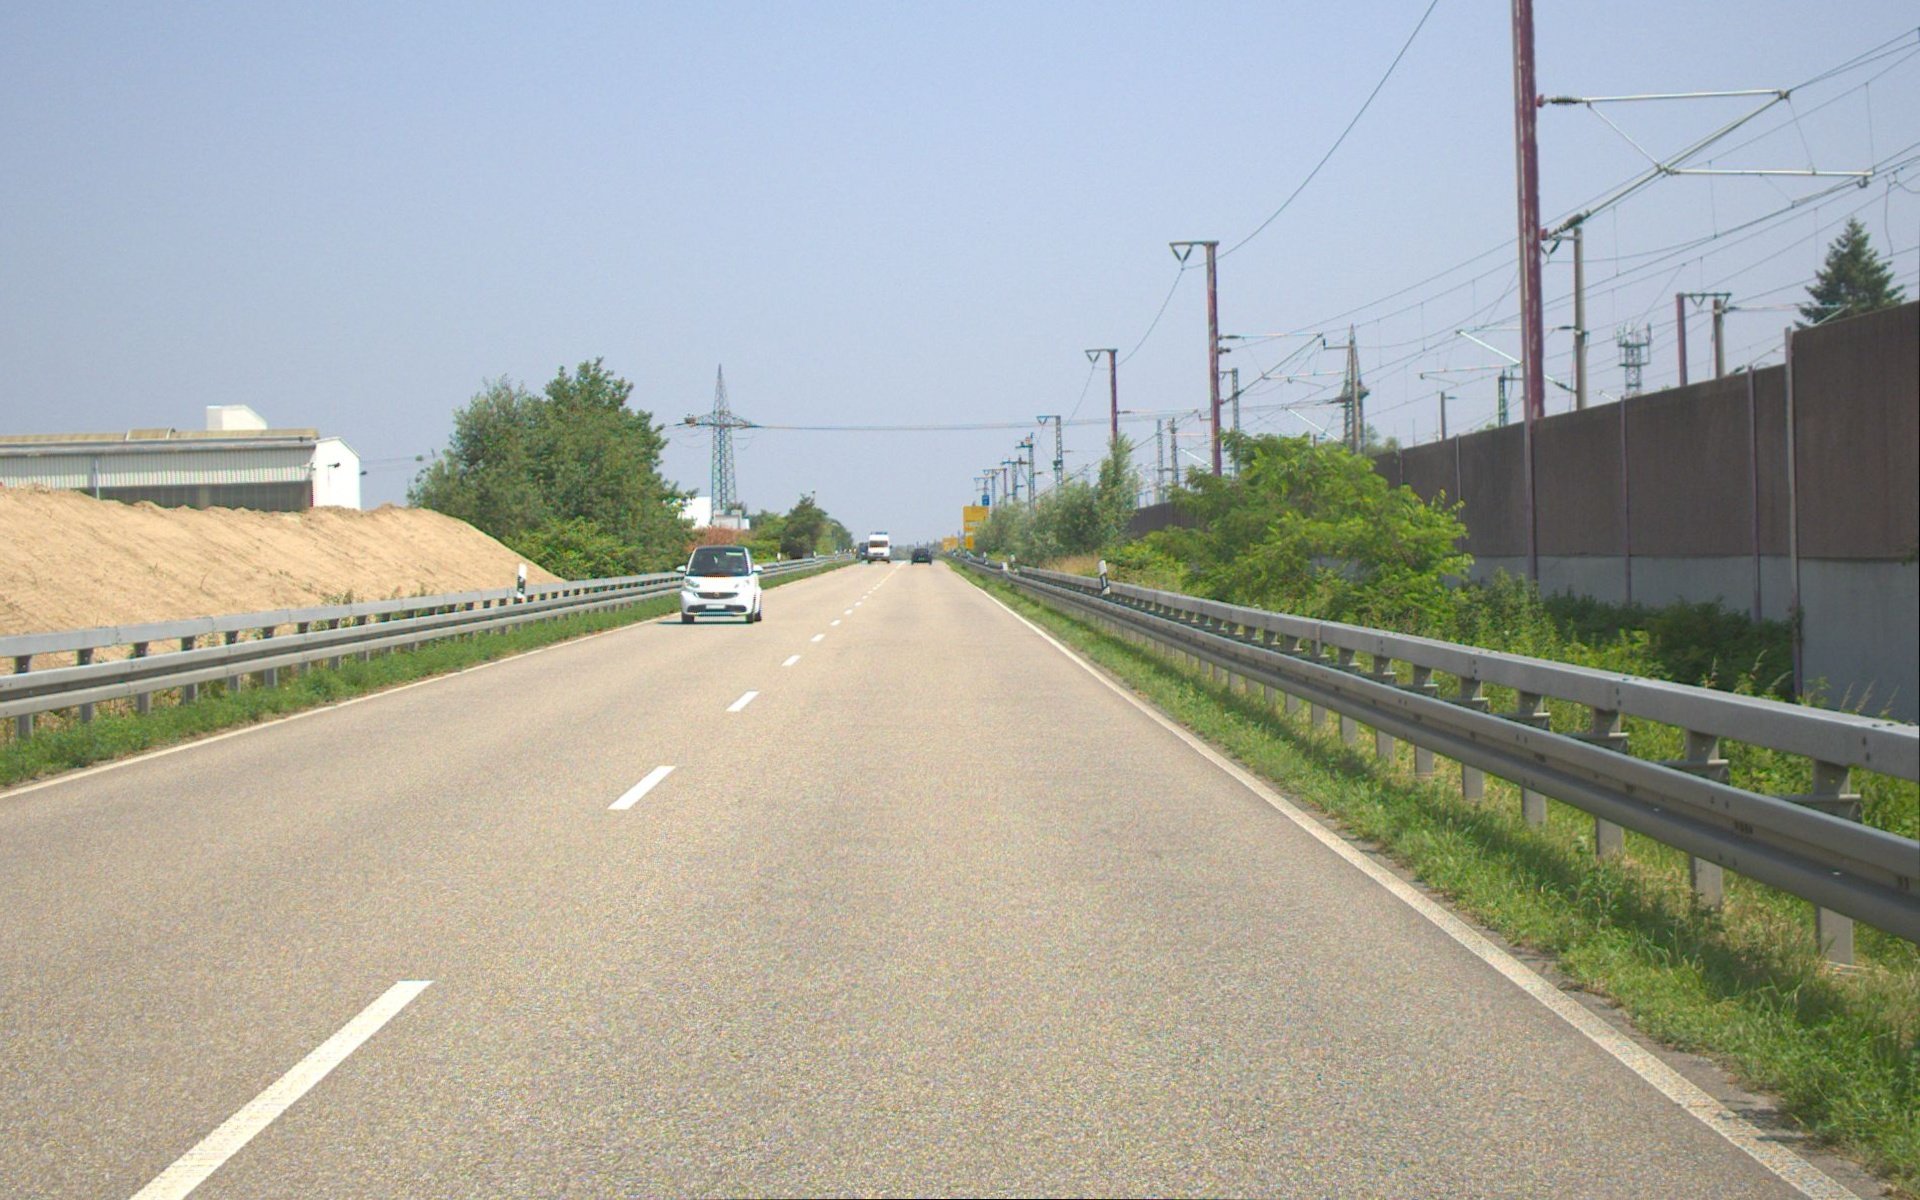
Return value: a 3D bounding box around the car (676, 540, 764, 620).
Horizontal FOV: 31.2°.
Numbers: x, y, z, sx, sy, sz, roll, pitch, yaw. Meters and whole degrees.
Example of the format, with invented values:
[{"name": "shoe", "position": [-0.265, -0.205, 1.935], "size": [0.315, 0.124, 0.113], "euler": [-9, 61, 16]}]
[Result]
[{"name": "car", "position": [-4.878, -0.433, 70.180], "size": [1.595, 1.571, 3.828], "euler": [0, 1, -1]}]
